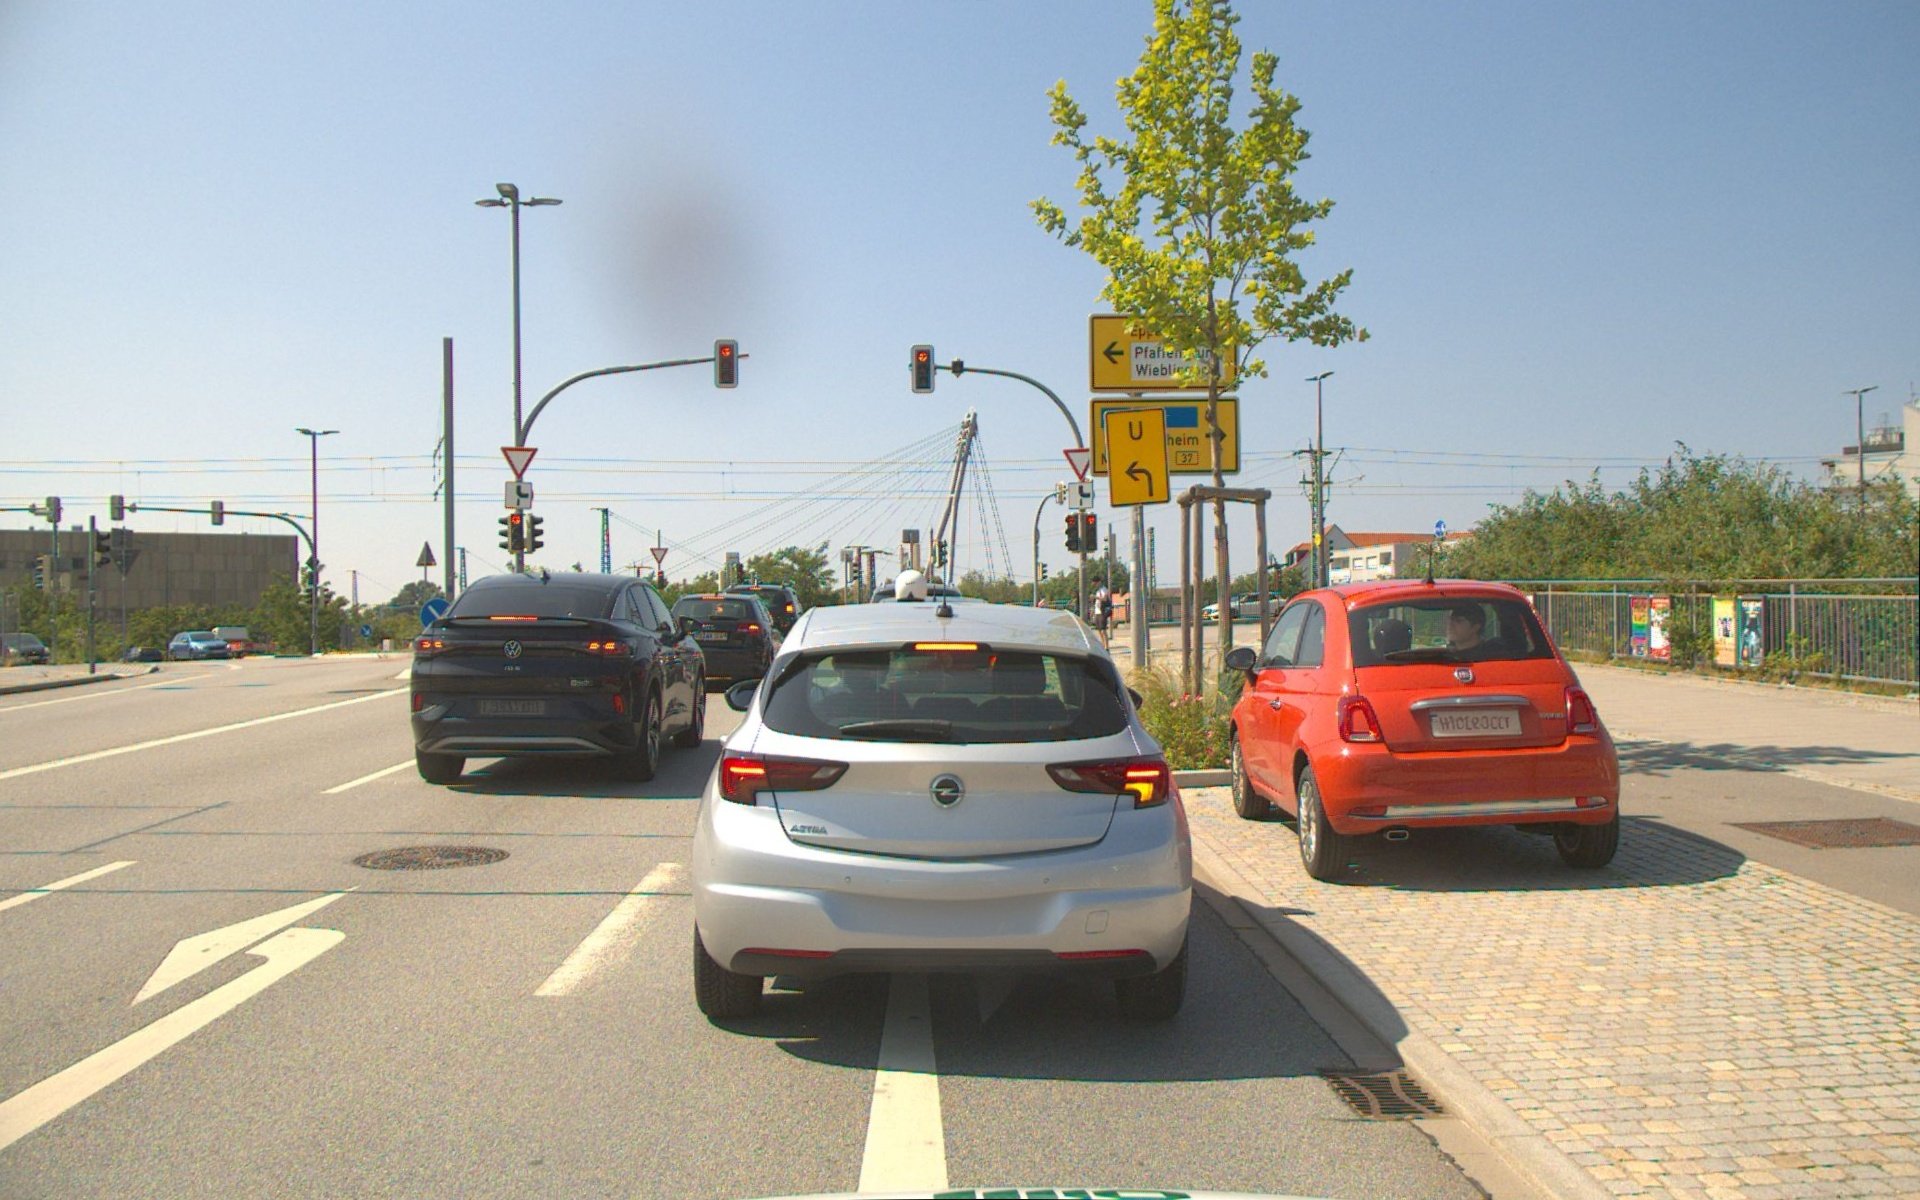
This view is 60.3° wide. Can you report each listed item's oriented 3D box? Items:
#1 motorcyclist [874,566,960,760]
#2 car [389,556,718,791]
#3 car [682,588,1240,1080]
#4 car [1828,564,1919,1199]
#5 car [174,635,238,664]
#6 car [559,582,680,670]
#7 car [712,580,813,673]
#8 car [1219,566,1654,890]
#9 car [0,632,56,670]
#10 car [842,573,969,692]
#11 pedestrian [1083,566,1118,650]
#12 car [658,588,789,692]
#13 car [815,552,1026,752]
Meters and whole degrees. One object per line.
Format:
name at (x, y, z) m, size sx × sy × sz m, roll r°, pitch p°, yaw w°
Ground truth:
motorcyclist at (-0.329, 0.467, 12.463) m, size 0.570 × 1.413 × 0.706 m, roll 1°, pitch -1°, yaw -6°
car at (-3.255, 0.538, 14.131) m, size 1.765 × 1.670 × 4.365 m, roll 1°, pitch 0°, yaw -1°
car at (-0.098, 0.737, 7.114) m, size 1.708 × 1.503 × 3.997 m, roll 1°, pitch 0°, yaw -3°
car at (2.921, 0.621, 1.909) m, size 1.627 × 1.451 × 3.999 m, roll -1°, pitch 0°, yaw -2°
car at (-36.271, 2.373, 79.548) m, size 1.806 × 1.354 × 3.941 m, roll 1°, pitch -2°, yaw -40°
car at (-6.475, 0.474, 31.783) m, size 1.565 × 1.574 × 3.761 m, roll 1°, pitch 0°, yaw -1°
car at (-3.708, 0.485, 31.548) m, size 1.616 × 1.643 × 3.818 m, roll 1°, pitch 0°, yaw -3°
car at (2.596, 0.615, 9.771) m, size 1.577 × 1.522 × 3.352 m, roll -2°, pitch 0°, yaw 0°
car at (-41.222, 2.229, 73.093) m, size 1.662 × 1.502 × 3.358 m, roll -1°, pitch 1°, yaw -39°
car at (-0.758, 0.409, 24.389) m, size 1.689 × 1.591 × 4.000 m, roll 1°, pitch 1°, yaw -1°
pedestrian at (3.175, 0.181, 37.458) m, size 0.634 × 1.868 × 0.797 m, roll -2°, pitch 0°, yaw -3°
car at (-3.578, 0.579, 25.558) m, size 1.543 × 1.459 × 3.785 m, roll 1°, pitch 0°, yaw -2°
car at (-0.400, 0.463, 17.741) m, size 1.953 × 1.852 × 4.401 m, roll 1°, pitch 1°, yaw -1°
